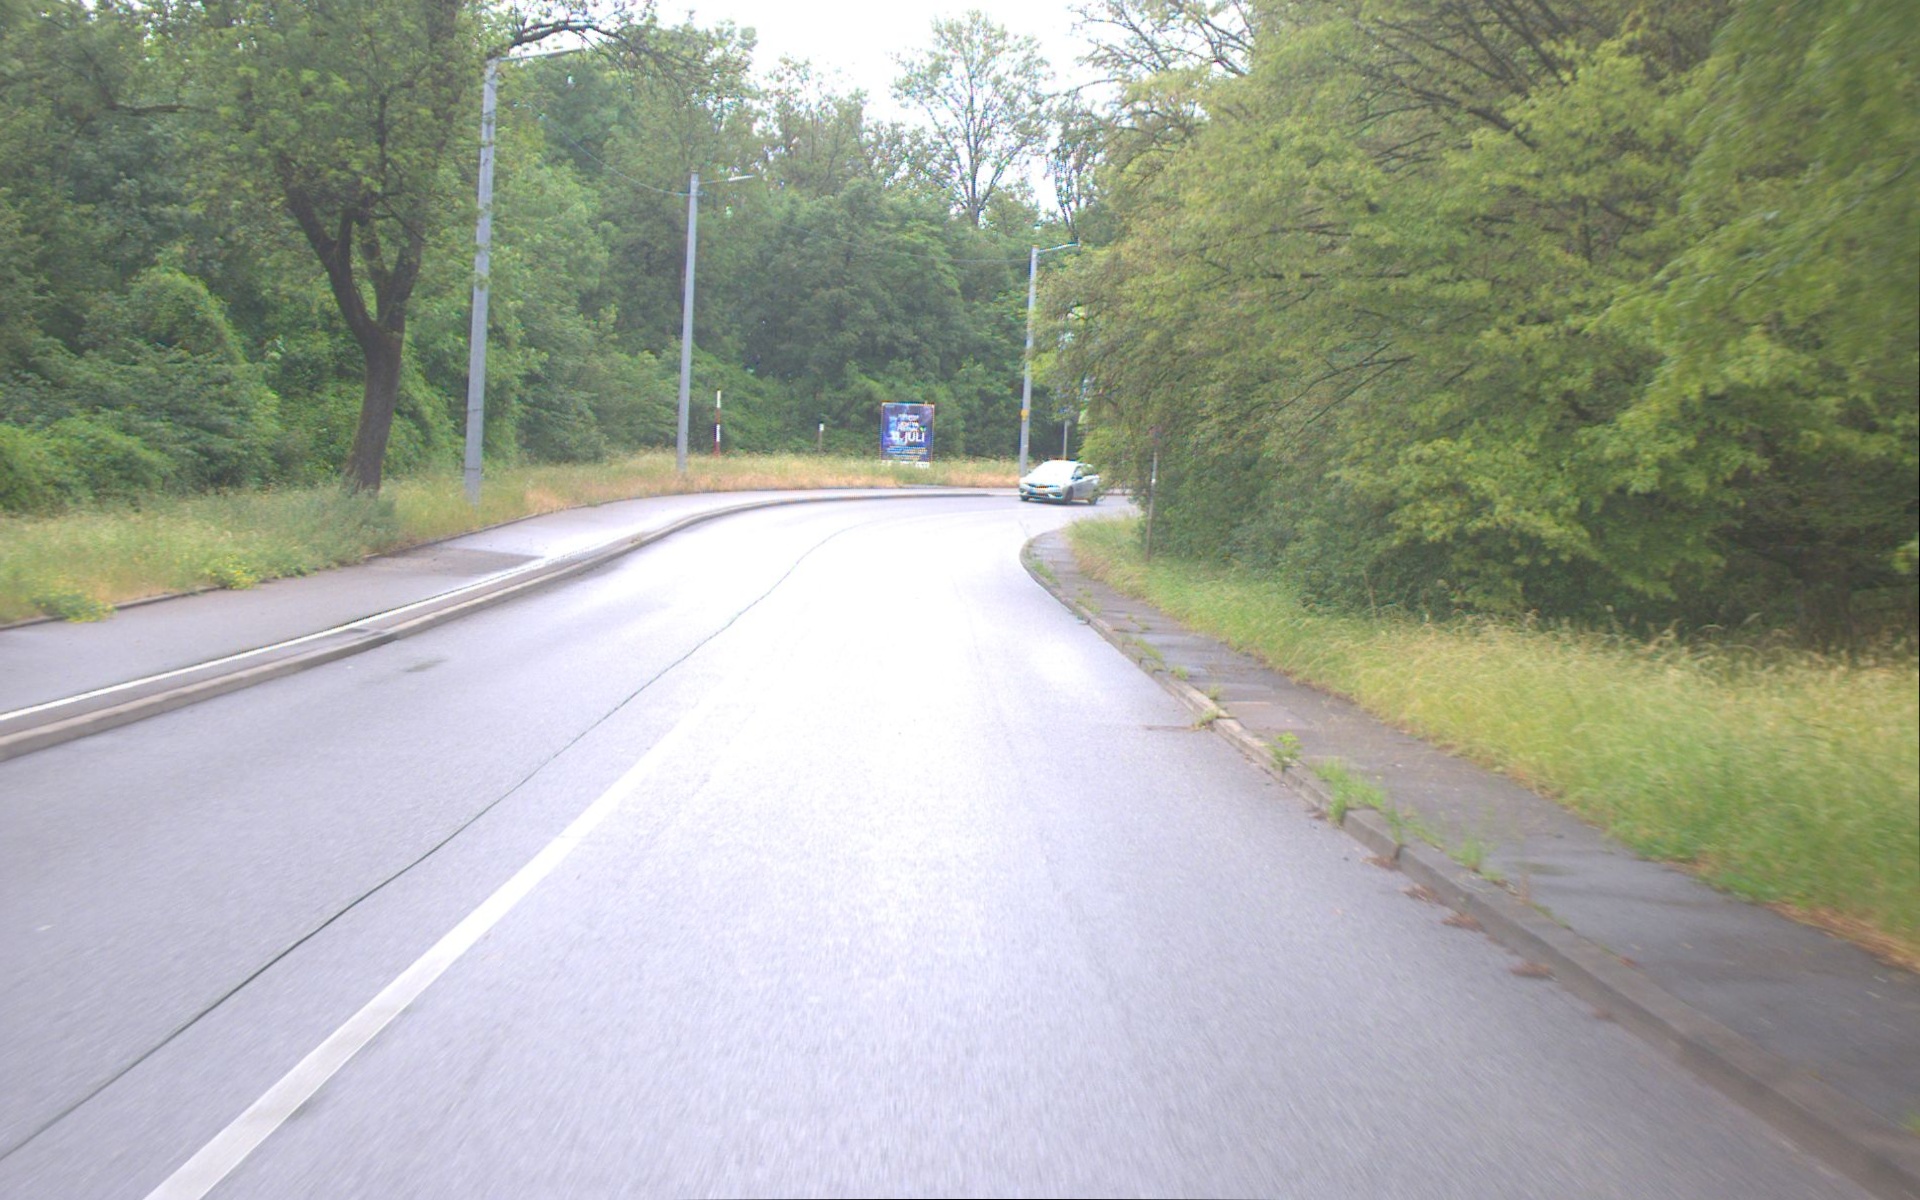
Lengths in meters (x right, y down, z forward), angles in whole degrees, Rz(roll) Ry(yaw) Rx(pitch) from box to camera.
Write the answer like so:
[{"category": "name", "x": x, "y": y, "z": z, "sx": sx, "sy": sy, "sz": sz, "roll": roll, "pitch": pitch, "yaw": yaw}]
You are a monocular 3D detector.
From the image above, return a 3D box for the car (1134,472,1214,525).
[{"category": "car", "x": 7.759, "y": -3.654, "z": 124.238, "sx": 1.743, "sy": 1.711, "sz": 3.996, "roll": 3, "pitch": 1, "yaw": 20}]

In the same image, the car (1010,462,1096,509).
[{"category": "car", "x": 3.300, "y": -4.039, "z": 121.649, "sx": 1.782, "sy": 1.425, "sz": 4.471, "roll": 7, "pitch": 3, "yaw": 17}]
